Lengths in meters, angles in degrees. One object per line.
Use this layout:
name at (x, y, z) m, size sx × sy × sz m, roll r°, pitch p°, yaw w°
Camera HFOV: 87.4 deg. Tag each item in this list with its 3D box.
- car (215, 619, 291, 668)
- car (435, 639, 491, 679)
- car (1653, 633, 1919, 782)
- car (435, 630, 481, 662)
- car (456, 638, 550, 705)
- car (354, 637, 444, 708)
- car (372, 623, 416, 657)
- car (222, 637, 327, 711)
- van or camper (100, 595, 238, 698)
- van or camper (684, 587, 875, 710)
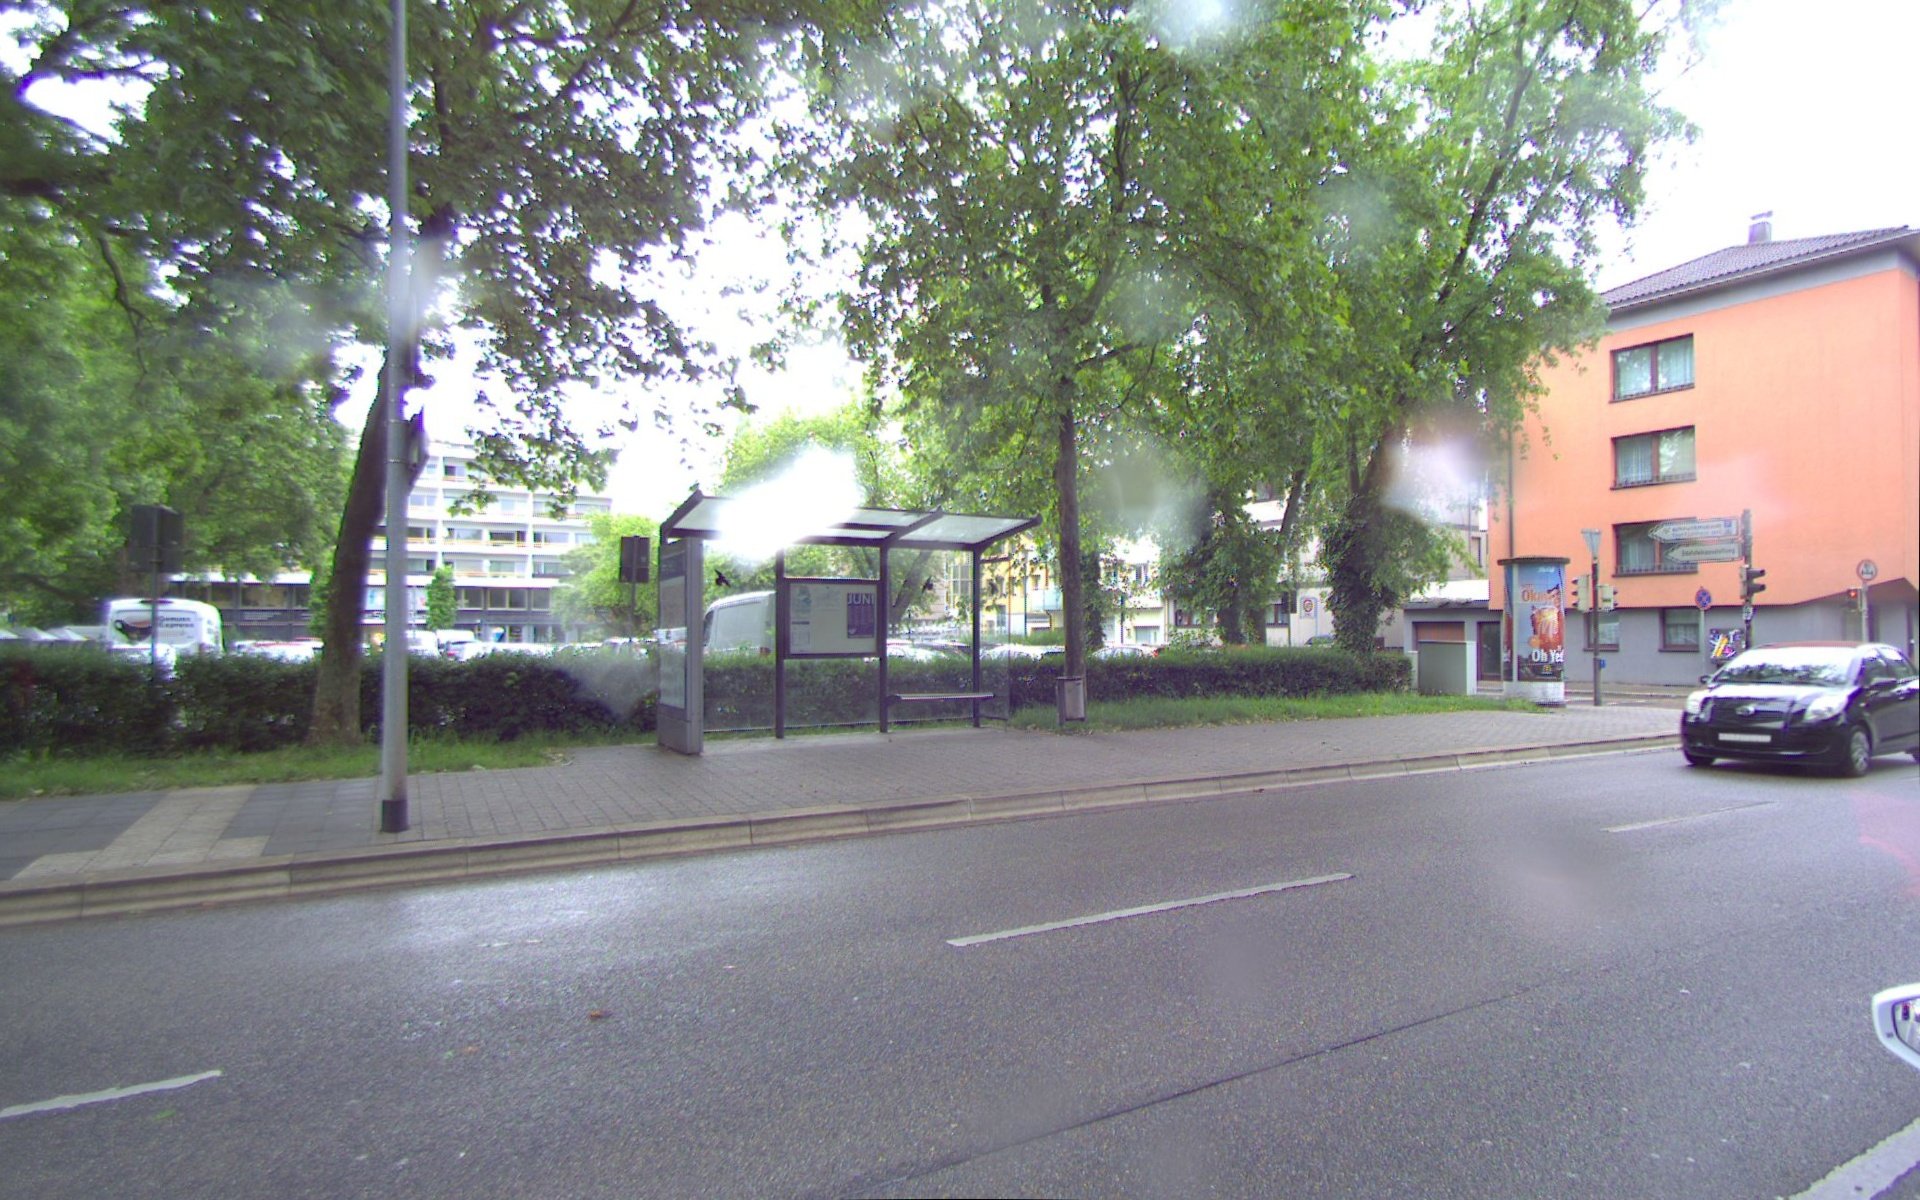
car at (-25.073, 1.512, 35.733) m, size 1.876 × 1.506 × 3.966 m, roll 2°, pitch 0°, yaw -31°
car at (-22.134, 2.588, 44.683) m, size 1.876 × 1.506 × 3.966 m, roll 2°, pitch 0°, yaw -31°
car at (10.436, 1.206, 12.364) m, size 3.826 × 1.553 × 1.786 m, roll 1°, pitch -3°, yaw -33°
car at (-26.993, 2.445, 53.937) m, size 1.876 × 1.506 × 3.966 m, roll 2°, pitch 0°, yaw -31°
car at (-12.534, 1.887, 27.404) m, size 1.876 × 1.506 × 3.966 m, roll 2°, pitch 0°, yaw -31°
car at (-14.627, 1.824, 26.112) m, size 1.876 × 1.506 × 3.966 m, roll 2°, pitch 0°, yaw -31°
car at (-32.503, 2.280, 57.607) m, size 2.075 × 1.745 × 3.966 m, roll 2°, pitch 0°, yaw -31°
car at (-16.877, 1.755, 24.894) m, size 1.876 × 1.506 × 3.966 m, roll 2°, pitch 0°, yaw -31°
van or camper at (-20.674, 1.202, 26.465) m, size 2.073 × 2.463 × 4.310 m, roll 1°, pitch -2°, yaw -28°
van or camper at (-3.477, 0.863, 18.593) m, size 1.978 × 1.975 × 4.572 m, roll 1°, pitch -2°, yaw -31°
